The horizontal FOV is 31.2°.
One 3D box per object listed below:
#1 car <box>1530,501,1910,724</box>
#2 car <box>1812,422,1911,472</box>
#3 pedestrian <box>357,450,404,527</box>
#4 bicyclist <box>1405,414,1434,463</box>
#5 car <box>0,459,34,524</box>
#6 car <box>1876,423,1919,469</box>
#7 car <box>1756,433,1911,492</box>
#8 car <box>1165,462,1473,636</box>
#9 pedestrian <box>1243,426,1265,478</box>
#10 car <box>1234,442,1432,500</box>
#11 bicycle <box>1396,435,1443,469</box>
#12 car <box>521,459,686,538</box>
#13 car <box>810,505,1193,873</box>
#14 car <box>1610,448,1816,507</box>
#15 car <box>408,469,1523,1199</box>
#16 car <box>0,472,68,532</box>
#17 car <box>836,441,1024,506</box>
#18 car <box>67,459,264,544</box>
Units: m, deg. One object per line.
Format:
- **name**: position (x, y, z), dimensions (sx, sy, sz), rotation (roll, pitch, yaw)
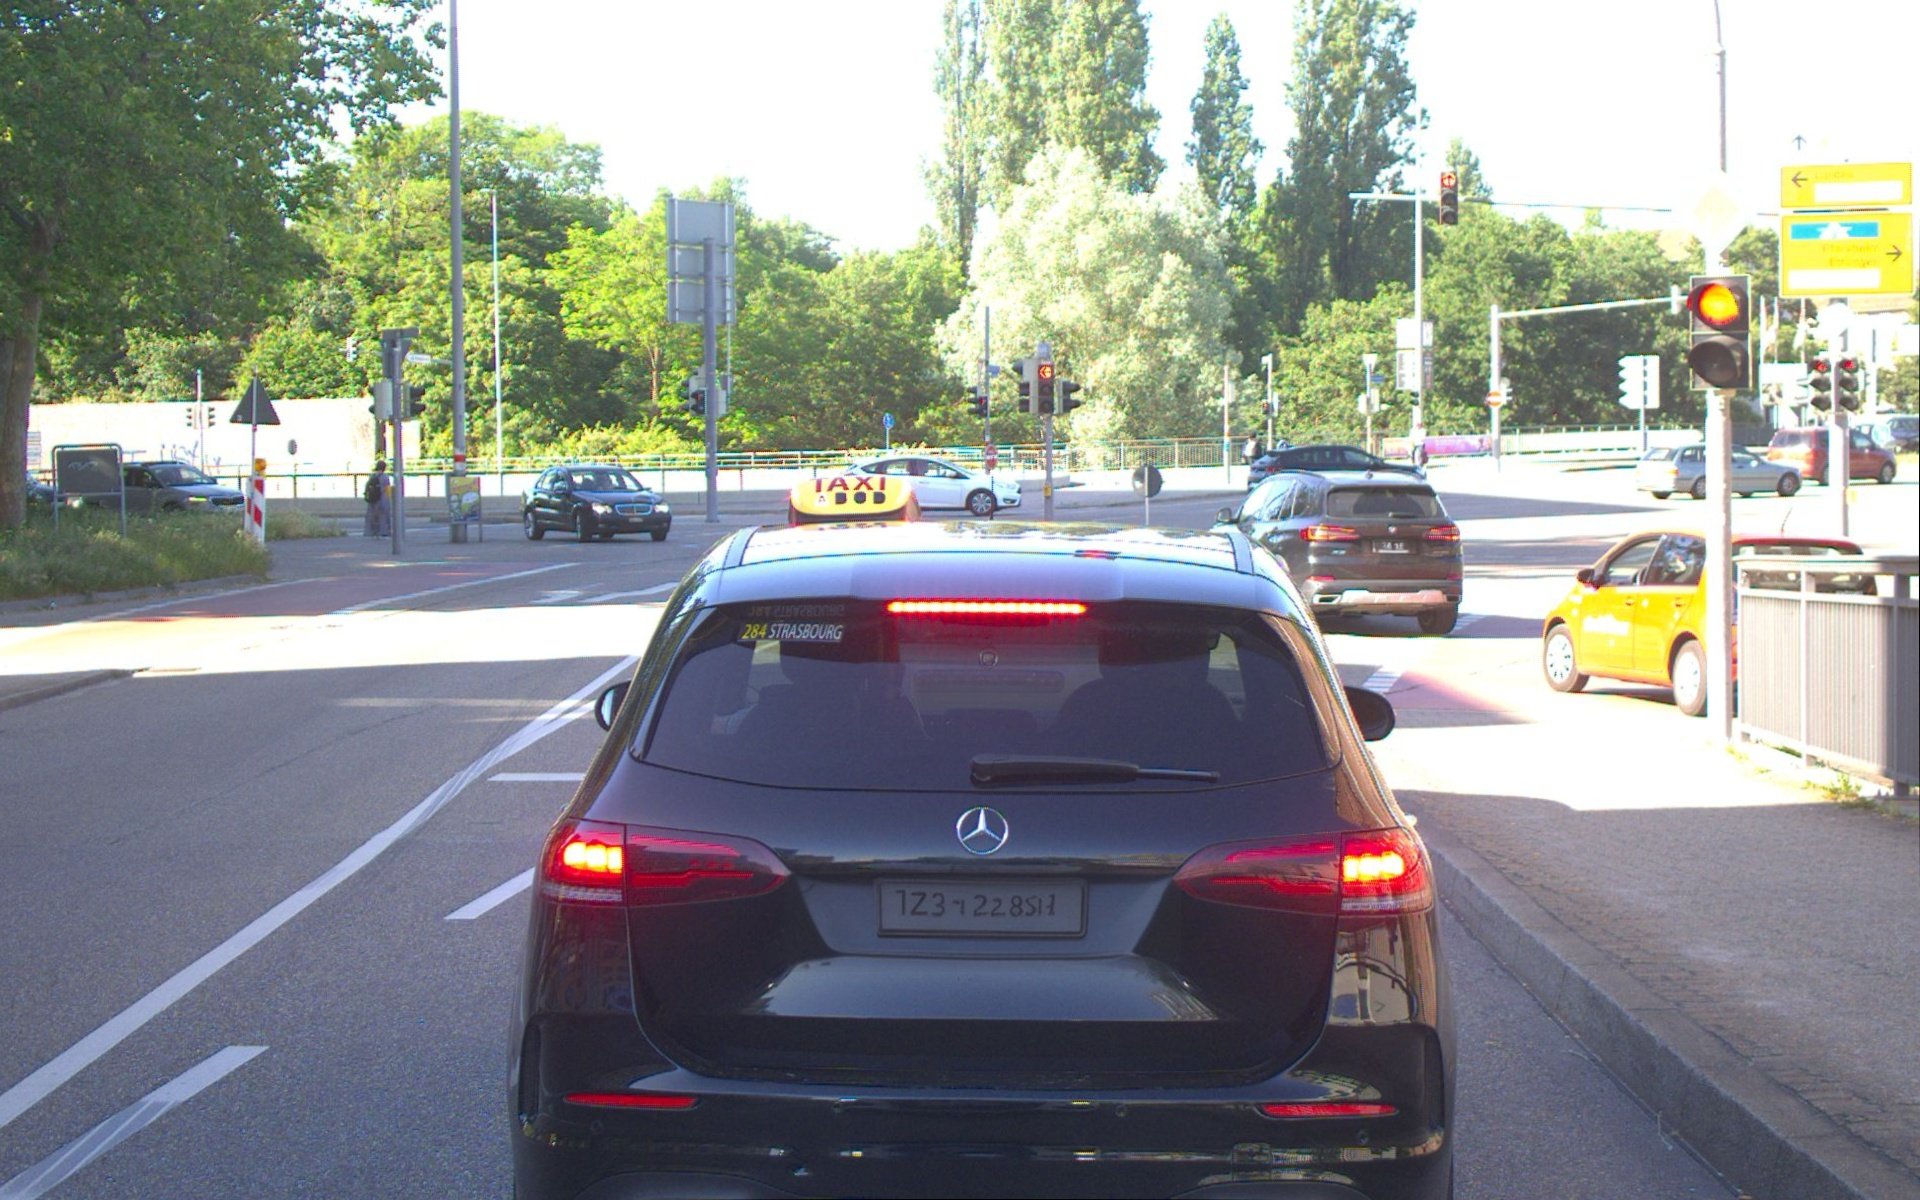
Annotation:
- **car**: position (6.024, 0.041, 27.649), dimensions (1.721, 1.516, 3.488), rotation (-1, 4, -11)
- **car**: position (30.083, -5.109, 114.665), dimensions (1.882, 1.573, 3.992), rotation (1, 3, 36)
- **pedestrian**: position (-11.466, -2.209, 67.994), dimensions (0.705, 1.520, 0.743), rotation (1, 2, 10)
- **bicyclist**: position (14.805, -5.202, 110.740), dimensions (0.527, 1.545, 0.805), rotation (0, 3, 39)
- **car**: position (-25.401, -2.694, 85.381), dimensions (4.395, 1.586, 1.920), rotation (1, 4, 25)
- **car**: position (33.574, -5.374, 119.819), dimensions (1.882, 1.573, 3.992), rotation (1, 3, 36)
- **car**: position (24.149, -3.811, 94.978), dimensions (4.540, 1.450, 1.999), rotation (-5, 5, -42)
- **car**: position (3.910, -0.601, 38.214), dimensions (1.721, 1.806, 4.299), rotation (1, 2, -19)
- **pedestrian**: position (9.102, -4.577, 106.346), dimensions (0.451, 1.580, 0.500), rotation (1, 3, 40)
- **car**: position (9.397, -3.258, 86.694), dimensions (4.578, 1.290, 1.887), rotation (-2, 4, -17)
- **bicycle**: position (14.806, -4.763, 110.769), dimensions (0.527, 1.046, 1.986), rotation (0, 3, 39)
- **car**: position (-6.797, -1.953, 65.242), dimensions (1.741, 1.402, 4.202), rotation (-2, 3, -26)
- **car**: position (0.231, 0.343, 16.731), dimensions (1.640, 1.524, 3.474), rotation (-1, 2, 2)
- **car**: position (18.562, -3.036, 84.785), dimensions (4.578, 1.290, 2.001), rotation (-2, 4, -18)
- **car**: position (-0.016, 0.538, 7.844), dimensions (1.878, 1.608, 4.000), rotation (1, 2, -1)
- **car**: position (-26.110, -2.633, 92.891), dimensions (3.996, 1.542, 1.886), rotation (1, 1, 39)
- **car**: position (-0.673, -2.967, 80.496), dimensions (4.300, 1.360, 2.000), rotation (-1, 3, 2)
- **car**: position (-17.603, -2.206, 76.109), dimensions (3.993, 1.617, 1.807), rotation (5, 5, 28)
